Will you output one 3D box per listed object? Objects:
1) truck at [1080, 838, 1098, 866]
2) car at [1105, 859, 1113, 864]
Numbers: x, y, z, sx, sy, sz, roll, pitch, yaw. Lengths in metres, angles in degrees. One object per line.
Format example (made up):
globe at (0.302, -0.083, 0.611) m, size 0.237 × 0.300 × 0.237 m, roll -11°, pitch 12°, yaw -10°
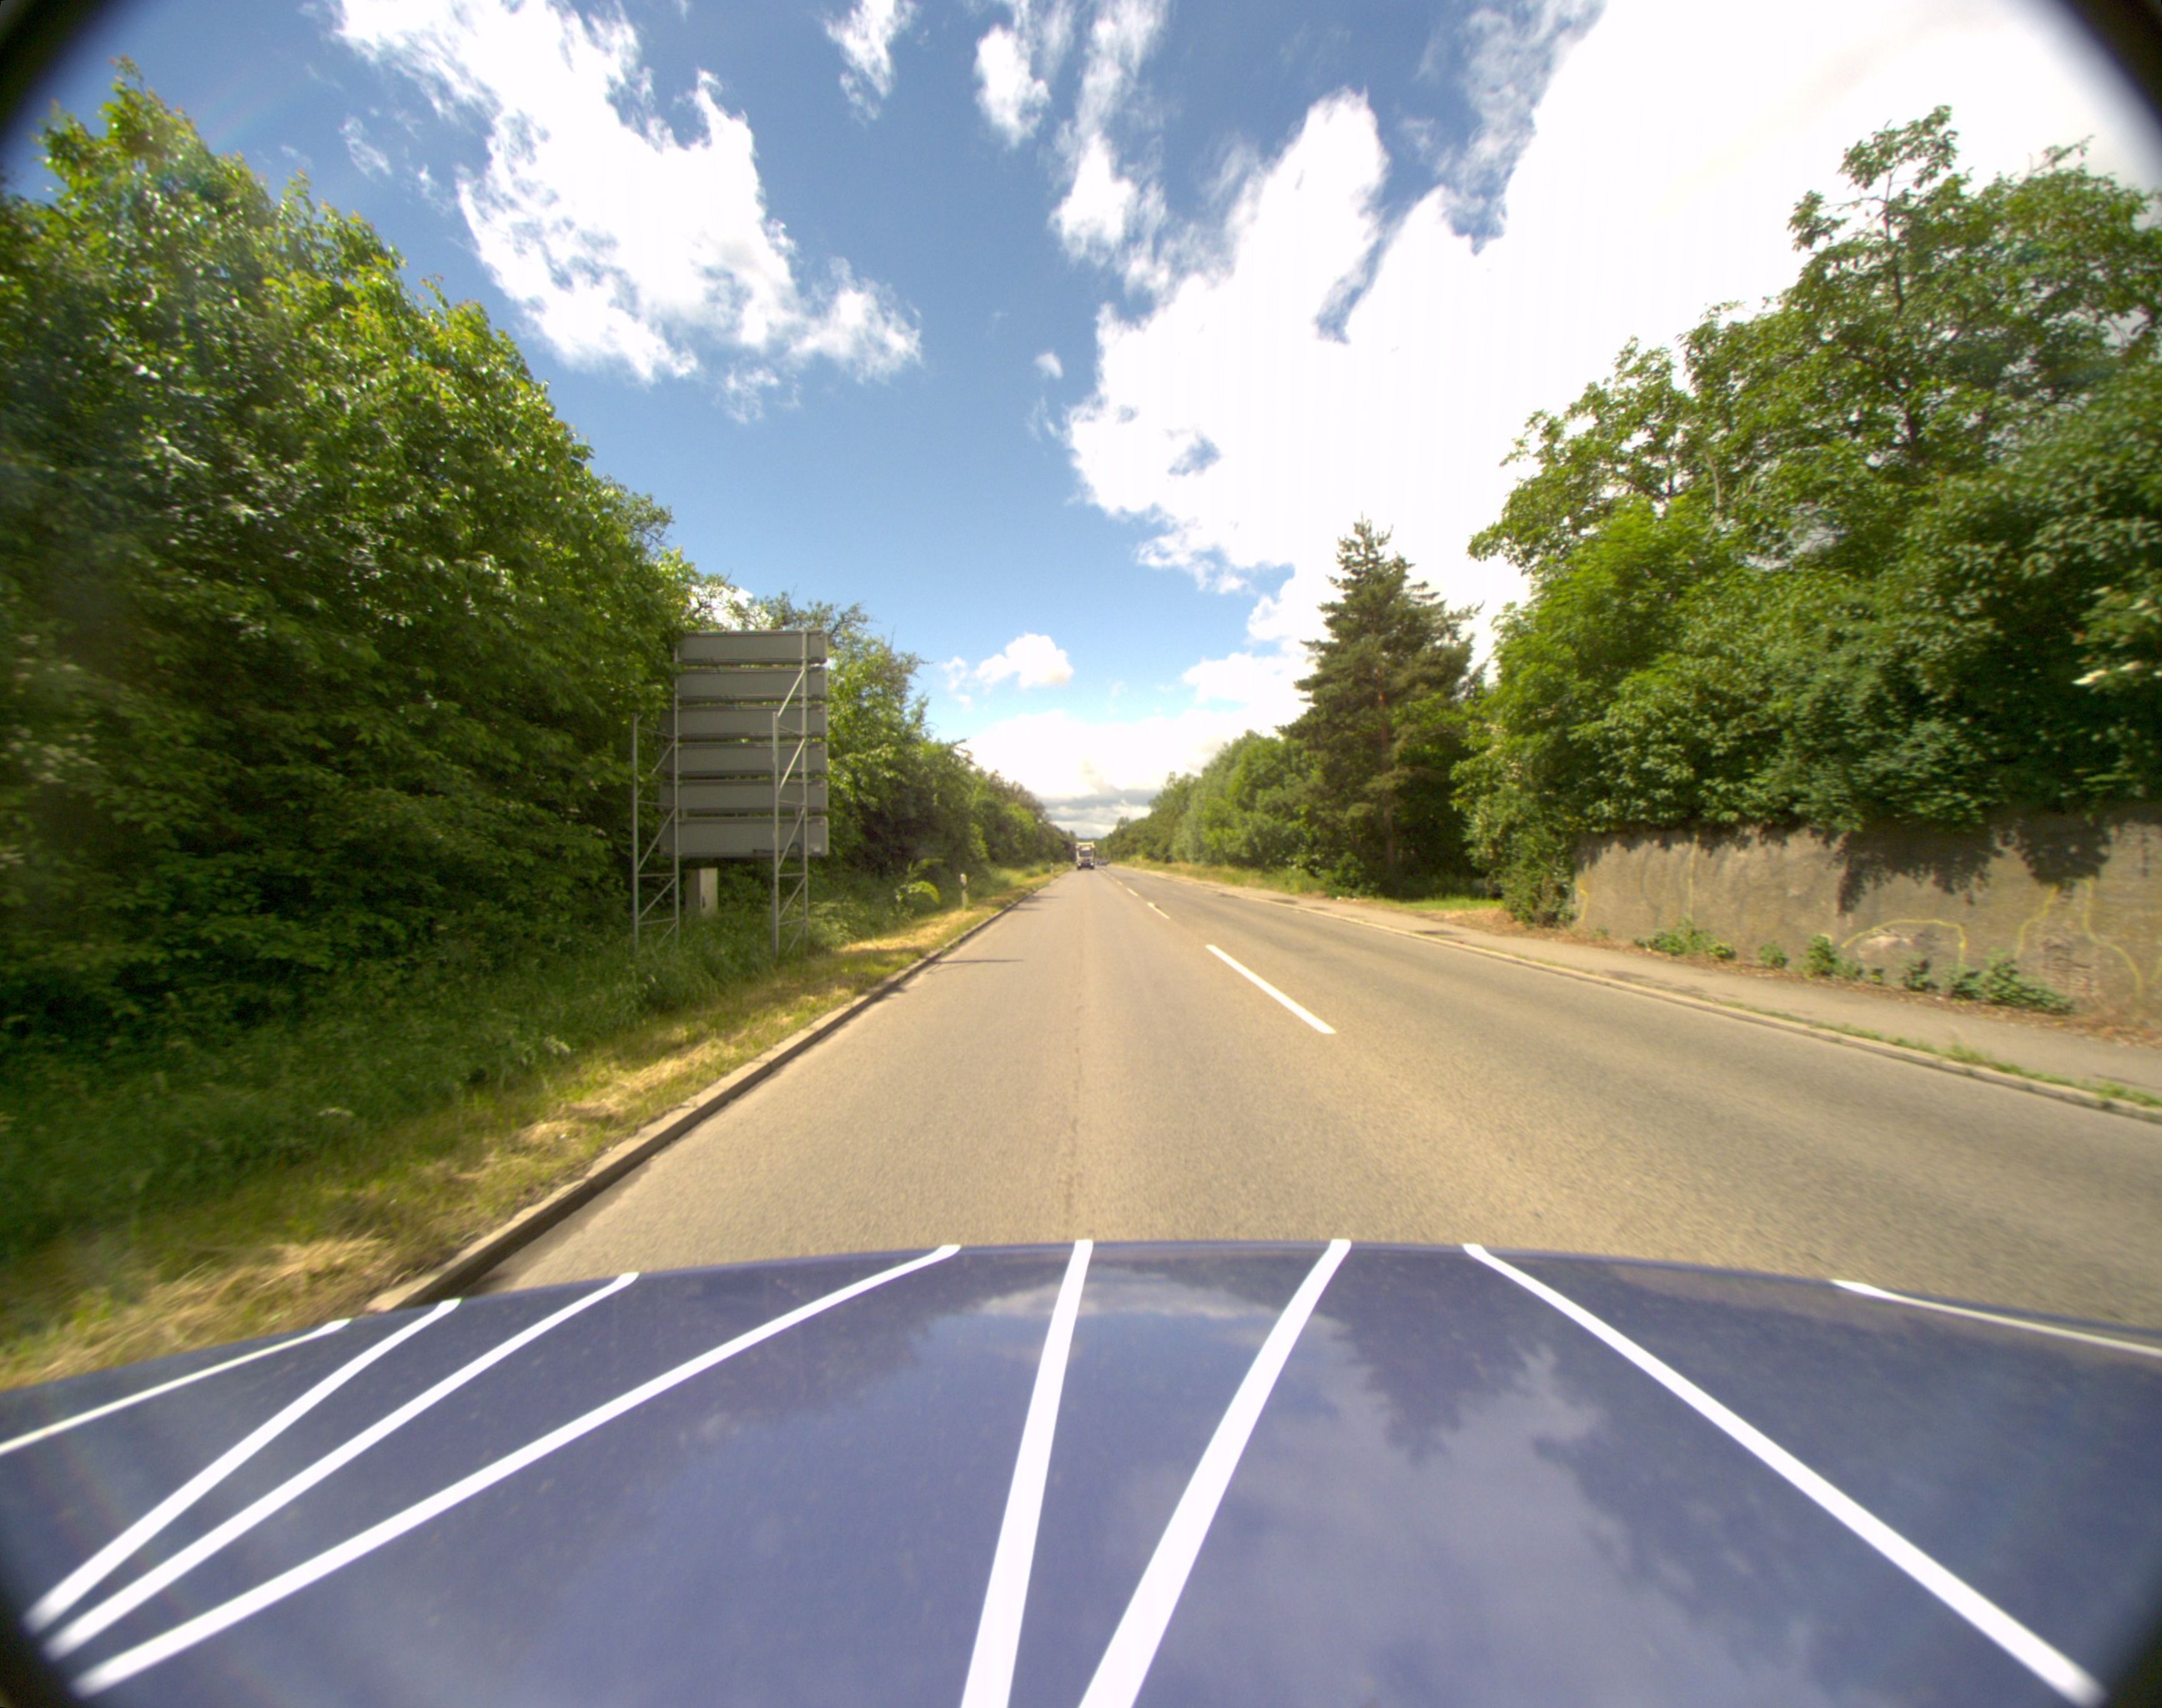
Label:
truck at (1.054, -0.185, 108.582) m, size 2.306 × 3.789 × 8.184 m, roll -2°, pitch -1°, yaw 0°
car at (6.924, 1.891, 187.847) m, size 1.789 × 1.326 × 4.622 m, roll 2°, pitch -1°, yaw -1°
